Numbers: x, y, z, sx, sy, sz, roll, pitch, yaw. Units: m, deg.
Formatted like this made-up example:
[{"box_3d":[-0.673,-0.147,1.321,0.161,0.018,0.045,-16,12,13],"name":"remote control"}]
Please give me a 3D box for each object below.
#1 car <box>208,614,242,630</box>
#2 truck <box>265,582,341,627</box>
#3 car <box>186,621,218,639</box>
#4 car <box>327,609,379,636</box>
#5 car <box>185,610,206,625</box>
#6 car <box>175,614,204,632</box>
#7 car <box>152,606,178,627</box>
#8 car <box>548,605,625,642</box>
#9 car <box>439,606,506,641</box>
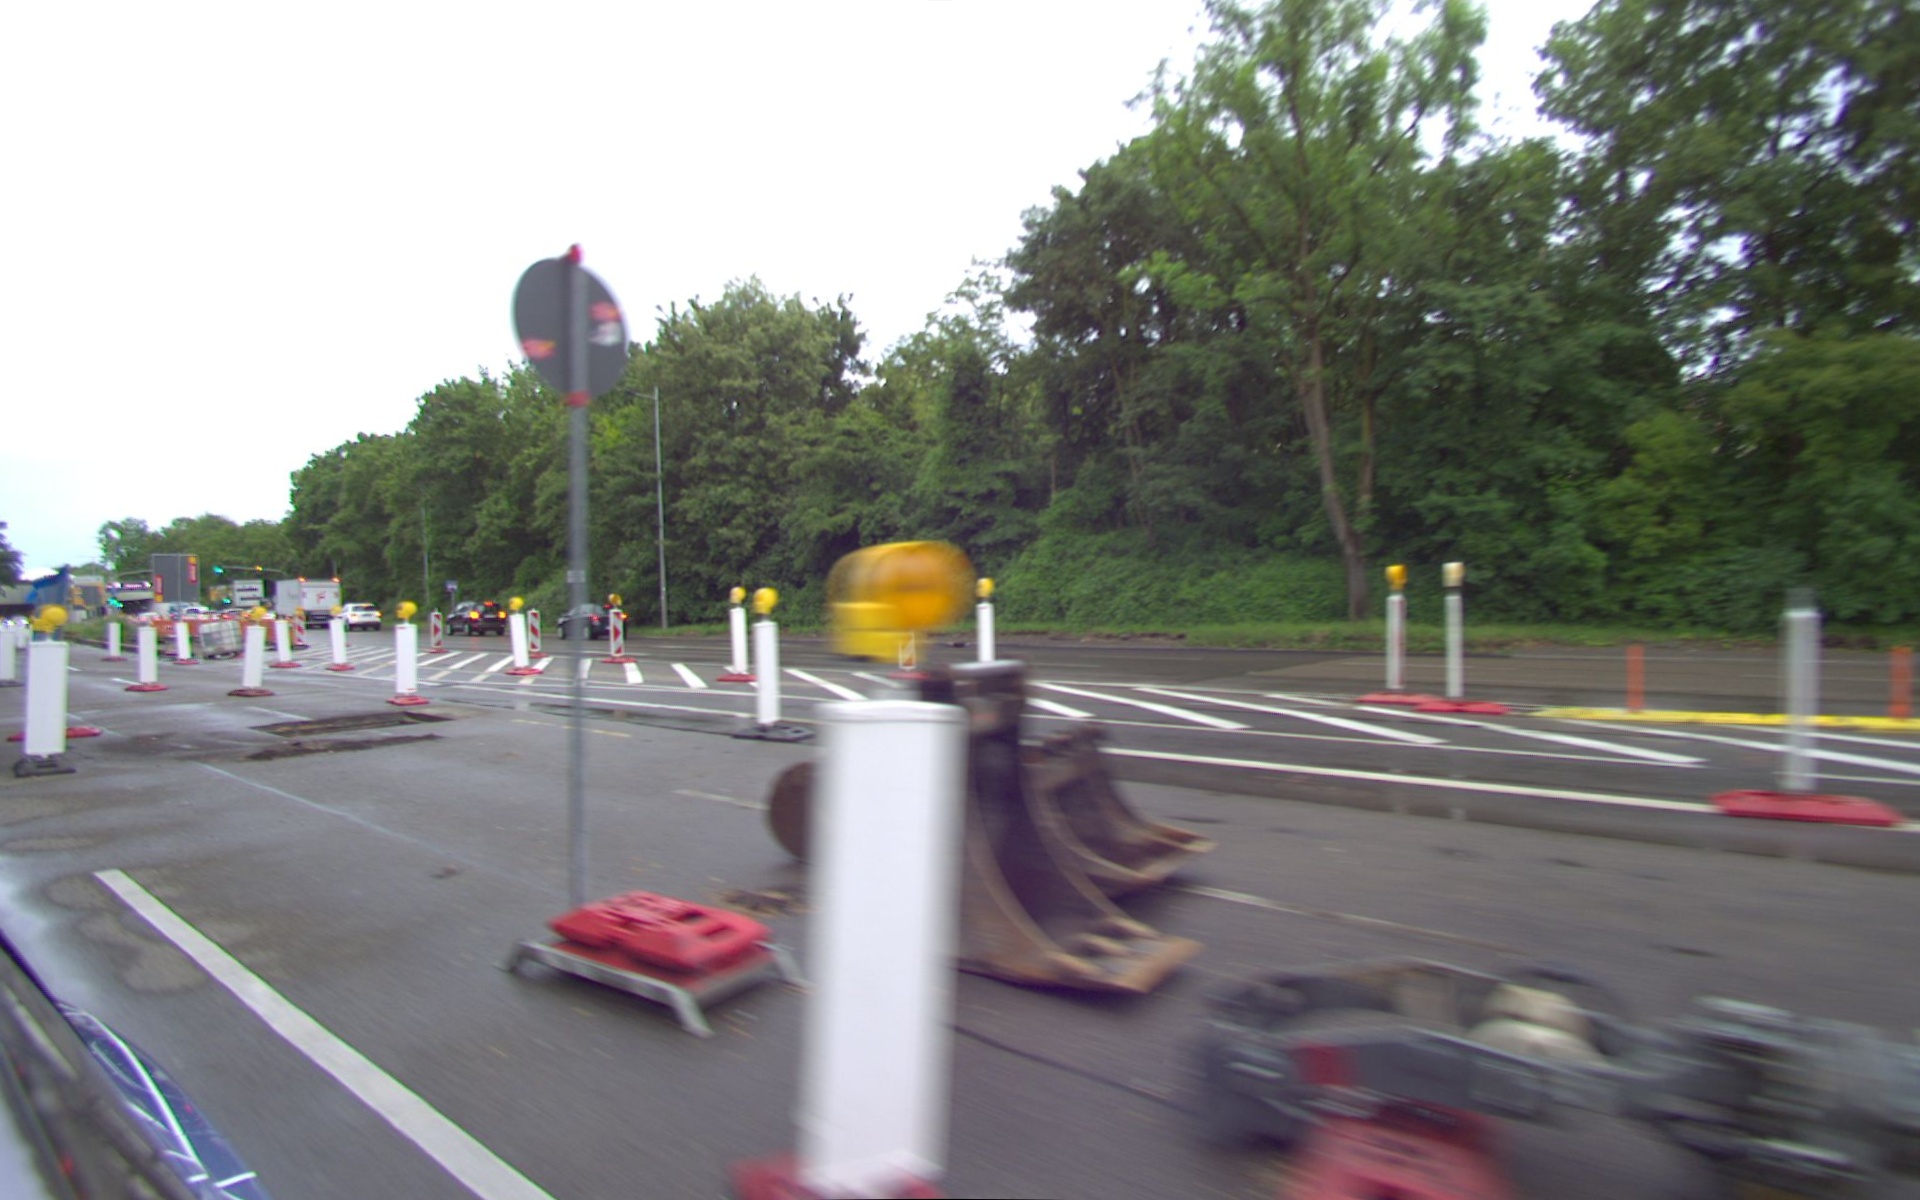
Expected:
[{"box_3d":[-59.910,1.786,82.484,4.285,1.161,1.587,-1,0,45],"name":"car"},{"box_3d":[-50.015,0.424,76.921,2.764,3.172,10.153,-2,0,-45],"name":"truck"},{"box_3d":[-69.785,2.761,93.156,4.042,1.562,1.814,-2,0,45],"name":"car"},{"box_3d":[-40.152,1.511,66.914,4.721,1.736,1.823,-2,-3,45],"name":"car"},{"box_3d":[-112.156,2.623,148.443,2.010,1.989,4.996,-3,0,-42],"name":"car"},{"box_3d":[-85.919,2.566,112.786,4.835,1.794,1.893,-2,0,45],"name":"car"},{"box_3d":[-103.094,2.137,131.216,2.169,2.408,6.251,-3,0,-42],"name":"car"},{"box_3d":[-15.467,0.986,41.836,3.539,1.468,1.509,-2,-2,42],"name":"car"},{"box_3d":[-24.355,1.184,50.511,4.199,1.660,1.618,-2,-1,43],"name":"car"}]
